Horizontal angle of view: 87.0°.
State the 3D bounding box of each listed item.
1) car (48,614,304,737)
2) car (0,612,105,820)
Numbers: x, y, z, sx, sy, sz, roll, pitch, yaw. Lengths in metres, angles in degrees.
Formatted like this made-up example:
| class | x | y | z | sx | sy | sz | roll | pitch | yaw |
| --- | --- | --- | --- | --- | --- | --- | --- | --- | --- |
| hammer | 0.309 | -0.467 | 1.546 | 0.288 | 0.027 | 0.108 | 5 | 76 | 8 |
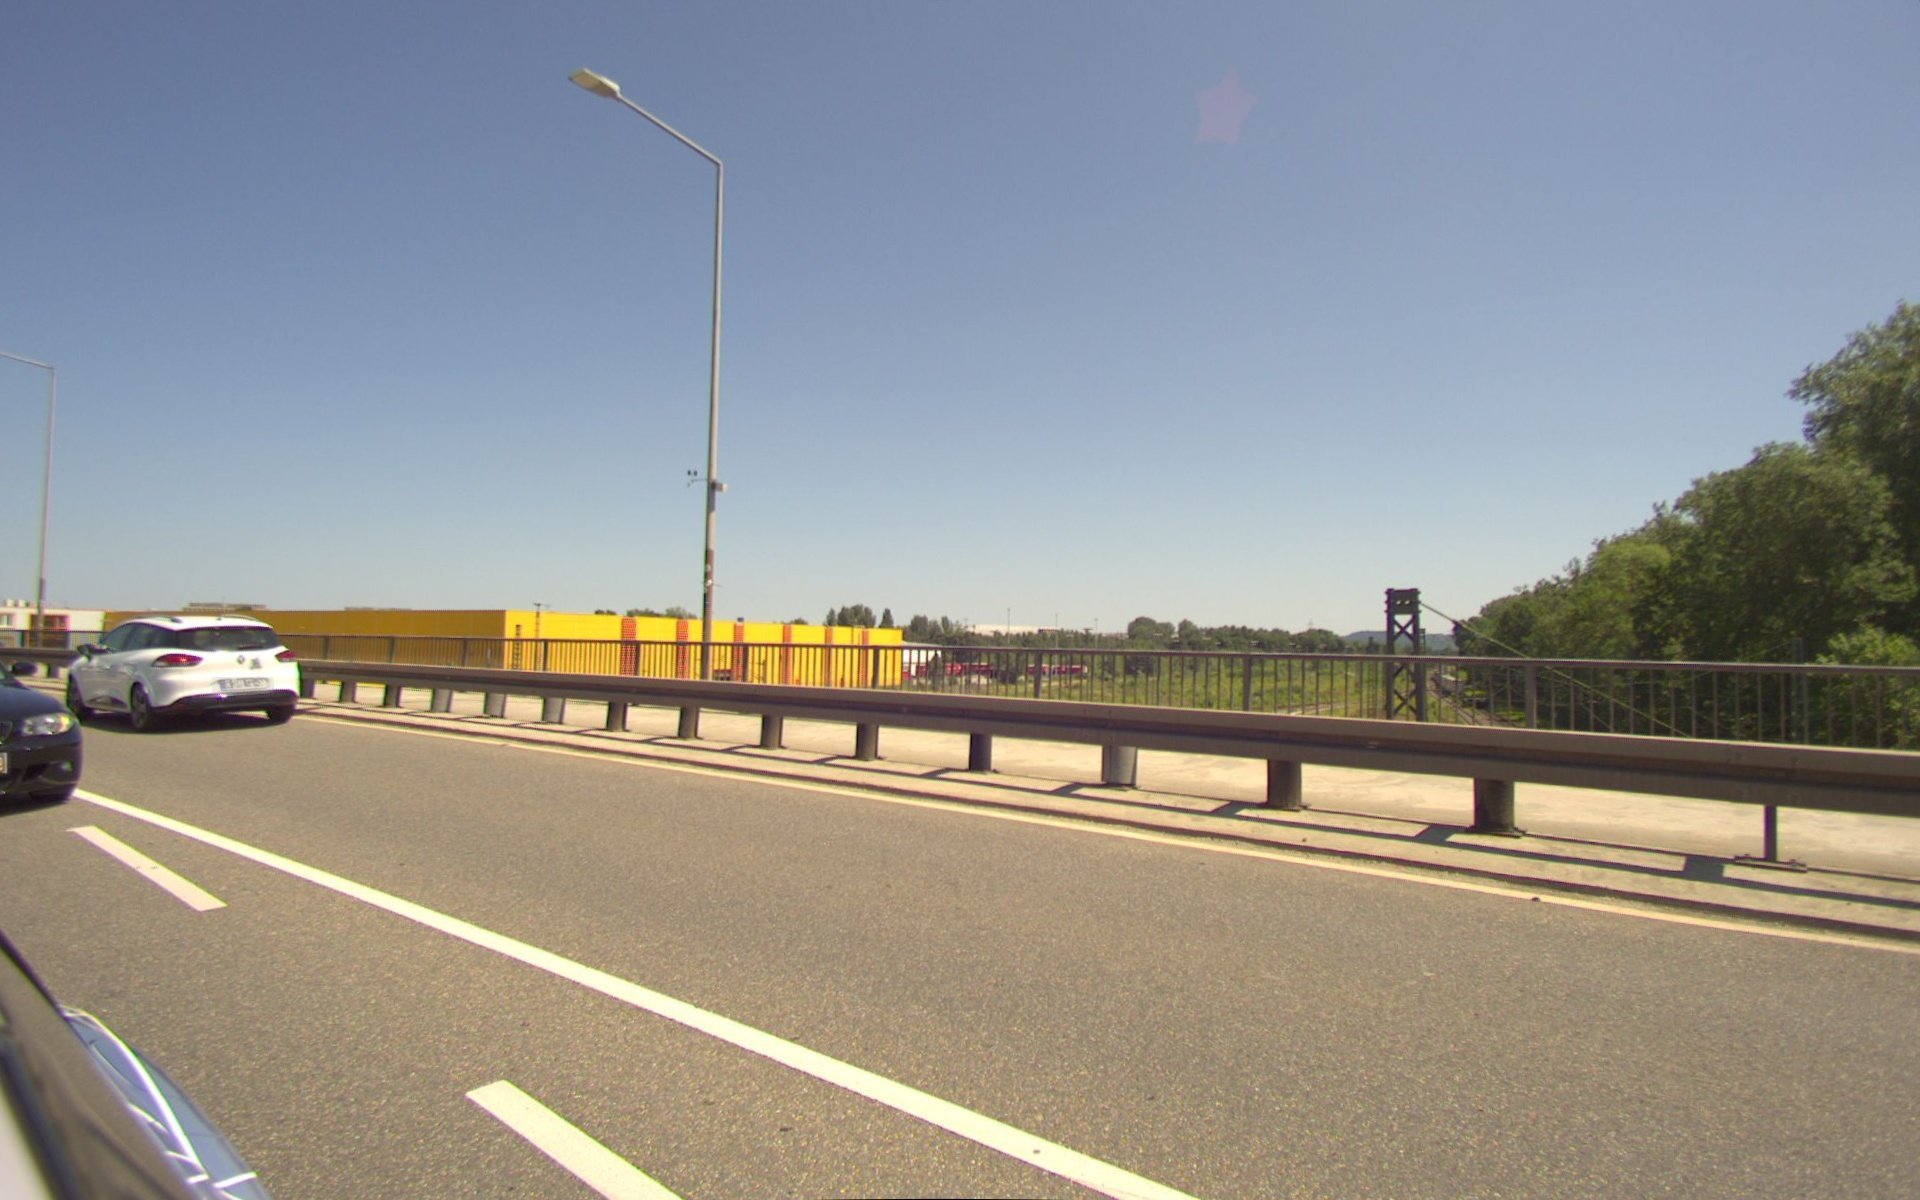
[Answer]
| class | x | y | z | sx | sy | sz | roll | pitch | yaw |
| --- | --- | --- | --- | --- | --- | --- | --- | --- | --- |
| car | -10.728 | 0.923 | 13.774 | 4.045 | 1.460 | 1.586 | -1 | -1 | 34 |
| car | -8.805 | 0.841 | 8.214 | 4.513 | 1.466 | 1.774 | -1 | -1 | 35 |
